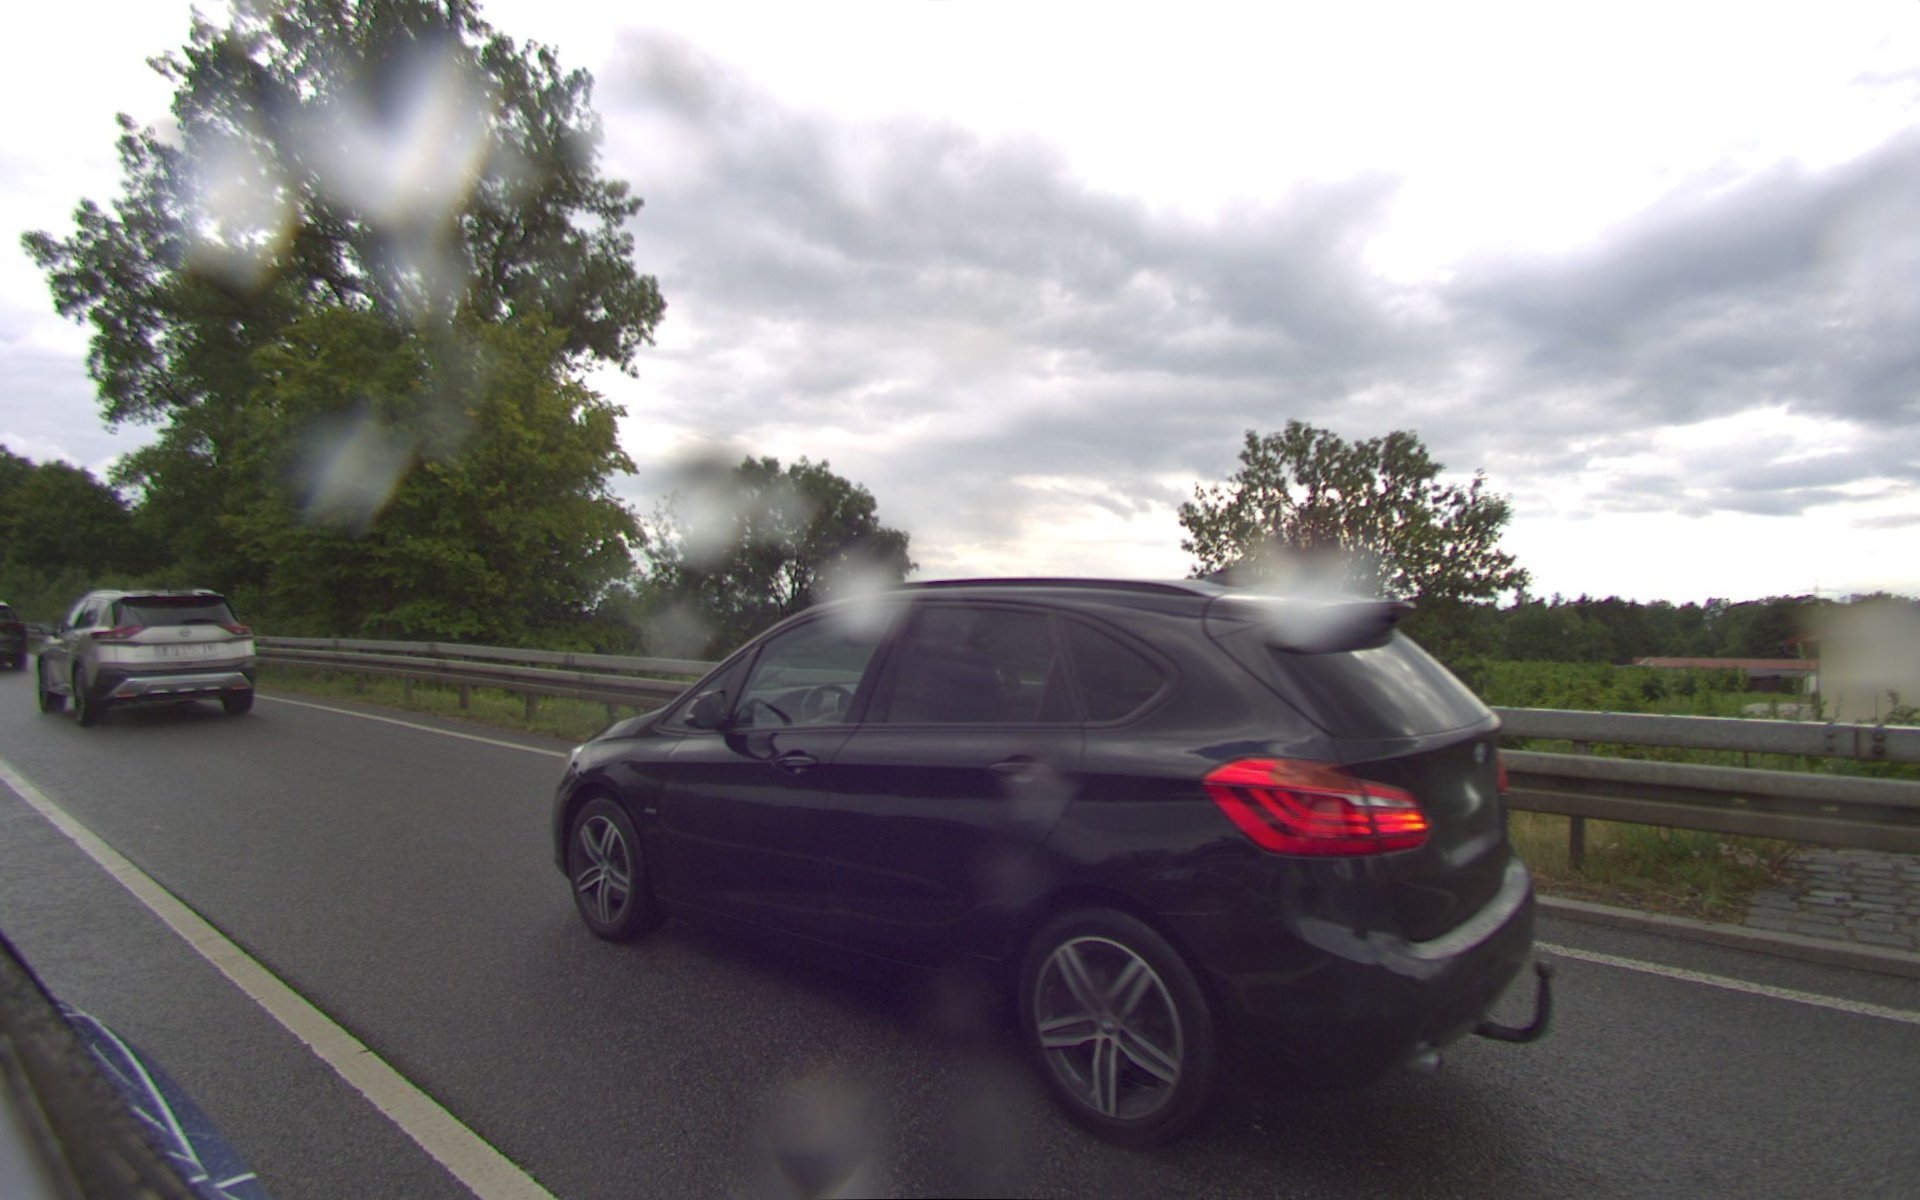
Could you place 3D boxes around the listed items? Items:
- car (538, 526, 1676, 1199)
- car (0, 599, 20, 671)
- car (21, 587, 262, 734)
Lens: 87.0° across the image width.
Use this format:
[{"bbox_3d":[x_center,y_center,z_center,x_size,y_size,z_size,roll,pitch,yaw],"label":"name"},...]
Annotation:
[{"bbox_3d":[0.223,0.663,3.950,4.021,1.553,1.879,-1,-1,41],"label":"car"},{"bbox_3d":[-24.458,0.863,24.713,4.521,1.666,1.728,-1,-1,41],"label":"car"},{"bbox_3d":[-11.389,0.746,13.976,4.386,1.713,1.822,-2,0,41],"label":"car"}]
